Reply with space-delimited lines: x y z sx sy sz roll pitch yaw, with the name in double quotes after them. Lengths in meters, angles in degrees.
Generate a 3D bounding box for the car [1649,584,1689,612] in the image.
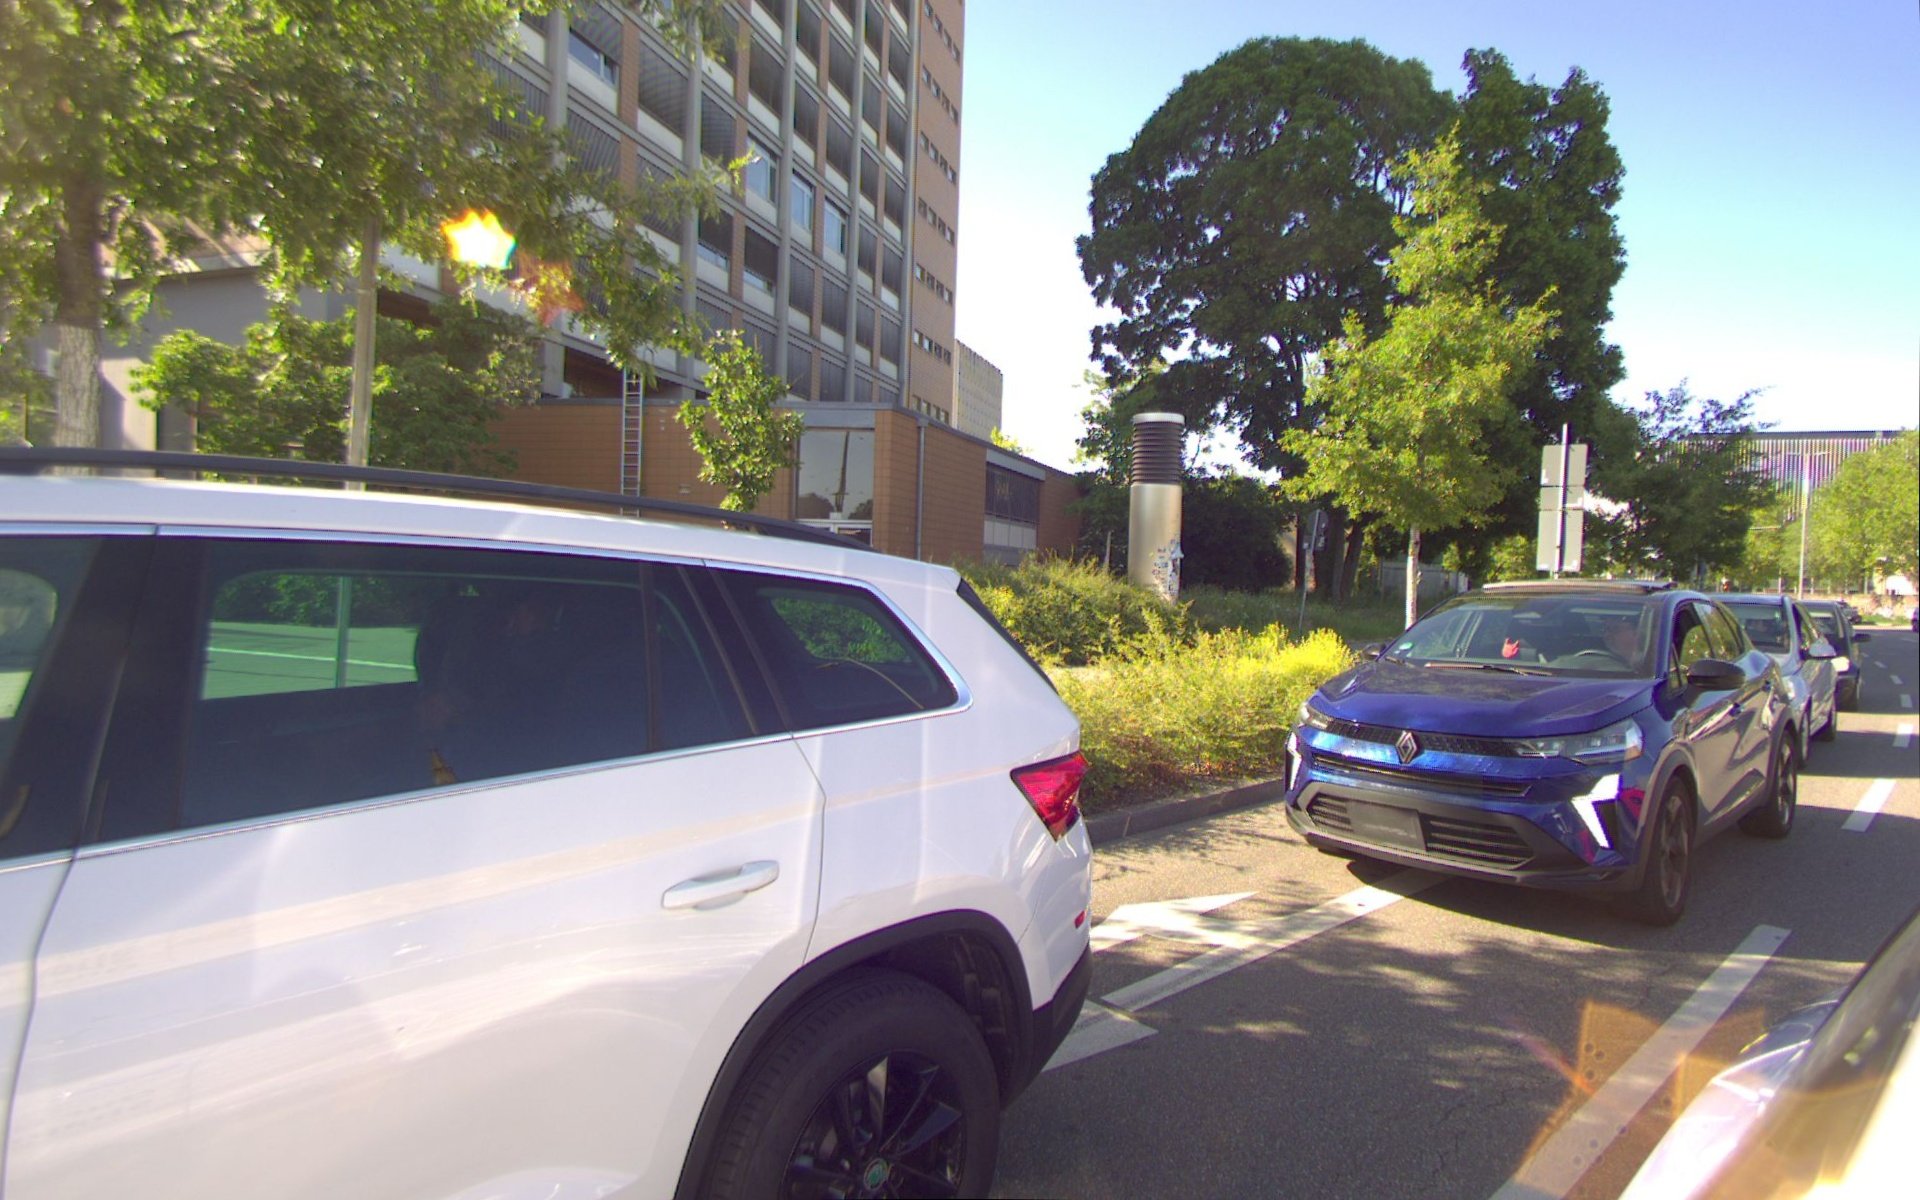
50.098 -0.147 71.588 1.812 1.876 3.715 2 1 28 "car"

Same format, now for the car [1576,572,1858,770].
8.038 0.585 10.606 3.977 1.645 1.782 0 2 -45 "car"

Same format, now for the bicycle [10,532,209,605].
-17.545 -0.633 21.021 0.790 1.394 3.111 2 1 26 "bicycle"

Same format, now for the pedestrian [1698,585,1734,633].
26.212 0.308 35.090 0.678 1.624 0.663 1 1 -12 "pedestrian"

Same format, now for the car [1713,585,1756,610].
63.833 -0.226 83.485 1.767 2.039 4.201 1 1 22 "car"

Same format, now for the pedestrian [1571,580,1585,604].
49.730 -0.632 81.437 0.812 1.941 0.766 0 0 22 "pedestrian"

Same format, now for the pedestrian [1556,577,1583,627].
20.172 0.061 33.479 0.688 1.624 0.653 2 1 35 "pedestrian"

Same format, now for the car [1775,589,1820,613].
59.572 0.036 72.002 1.578 1.625 3.048 2 1 23 "car"

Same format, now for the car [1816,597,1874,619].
53.600 0.476 61.348 1.569 1.219 3.966 2 2 25 "car"

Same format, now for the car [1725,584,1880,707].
13.110 0.611 15.682 1.646 1.631 3.435 3 2 43 "car"

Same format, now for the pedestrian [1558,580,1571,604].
48.988 -0.637 81.998 0.812 1.941 0.766 0 0 22 "pedestrian"

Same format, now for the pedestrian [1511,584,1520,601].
63.613 -0.873 115.947 0.812 1.941 0.766 0 0 23 "pedestrian"

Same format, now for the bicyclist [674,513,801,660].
-2.089 -0.139 9.509 0.891 1.294 0.722 1 3 -41 "bicyclist"

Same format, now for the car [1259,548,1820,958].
3.629 0.594 6.000 4.013 1.626 1.703 0 1 -42 "car"

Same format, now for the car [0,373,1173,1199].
-1.625 0.564 1.666 4.223 1.662 1.697 0 2 -42 "car"

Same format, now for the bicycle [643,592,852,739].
-1.988 0.570 9.625 1.802 1.232 0.691 0 3 -41 "bicycle"

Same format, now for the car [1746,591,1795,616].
48.070 0.201 60.098 1.738 1.396 3.536 1 1 30 "car"

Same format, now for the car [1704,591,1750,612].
55.969 0.098 73.919 1.862 1.500 3.967 1 1 24 "car"
